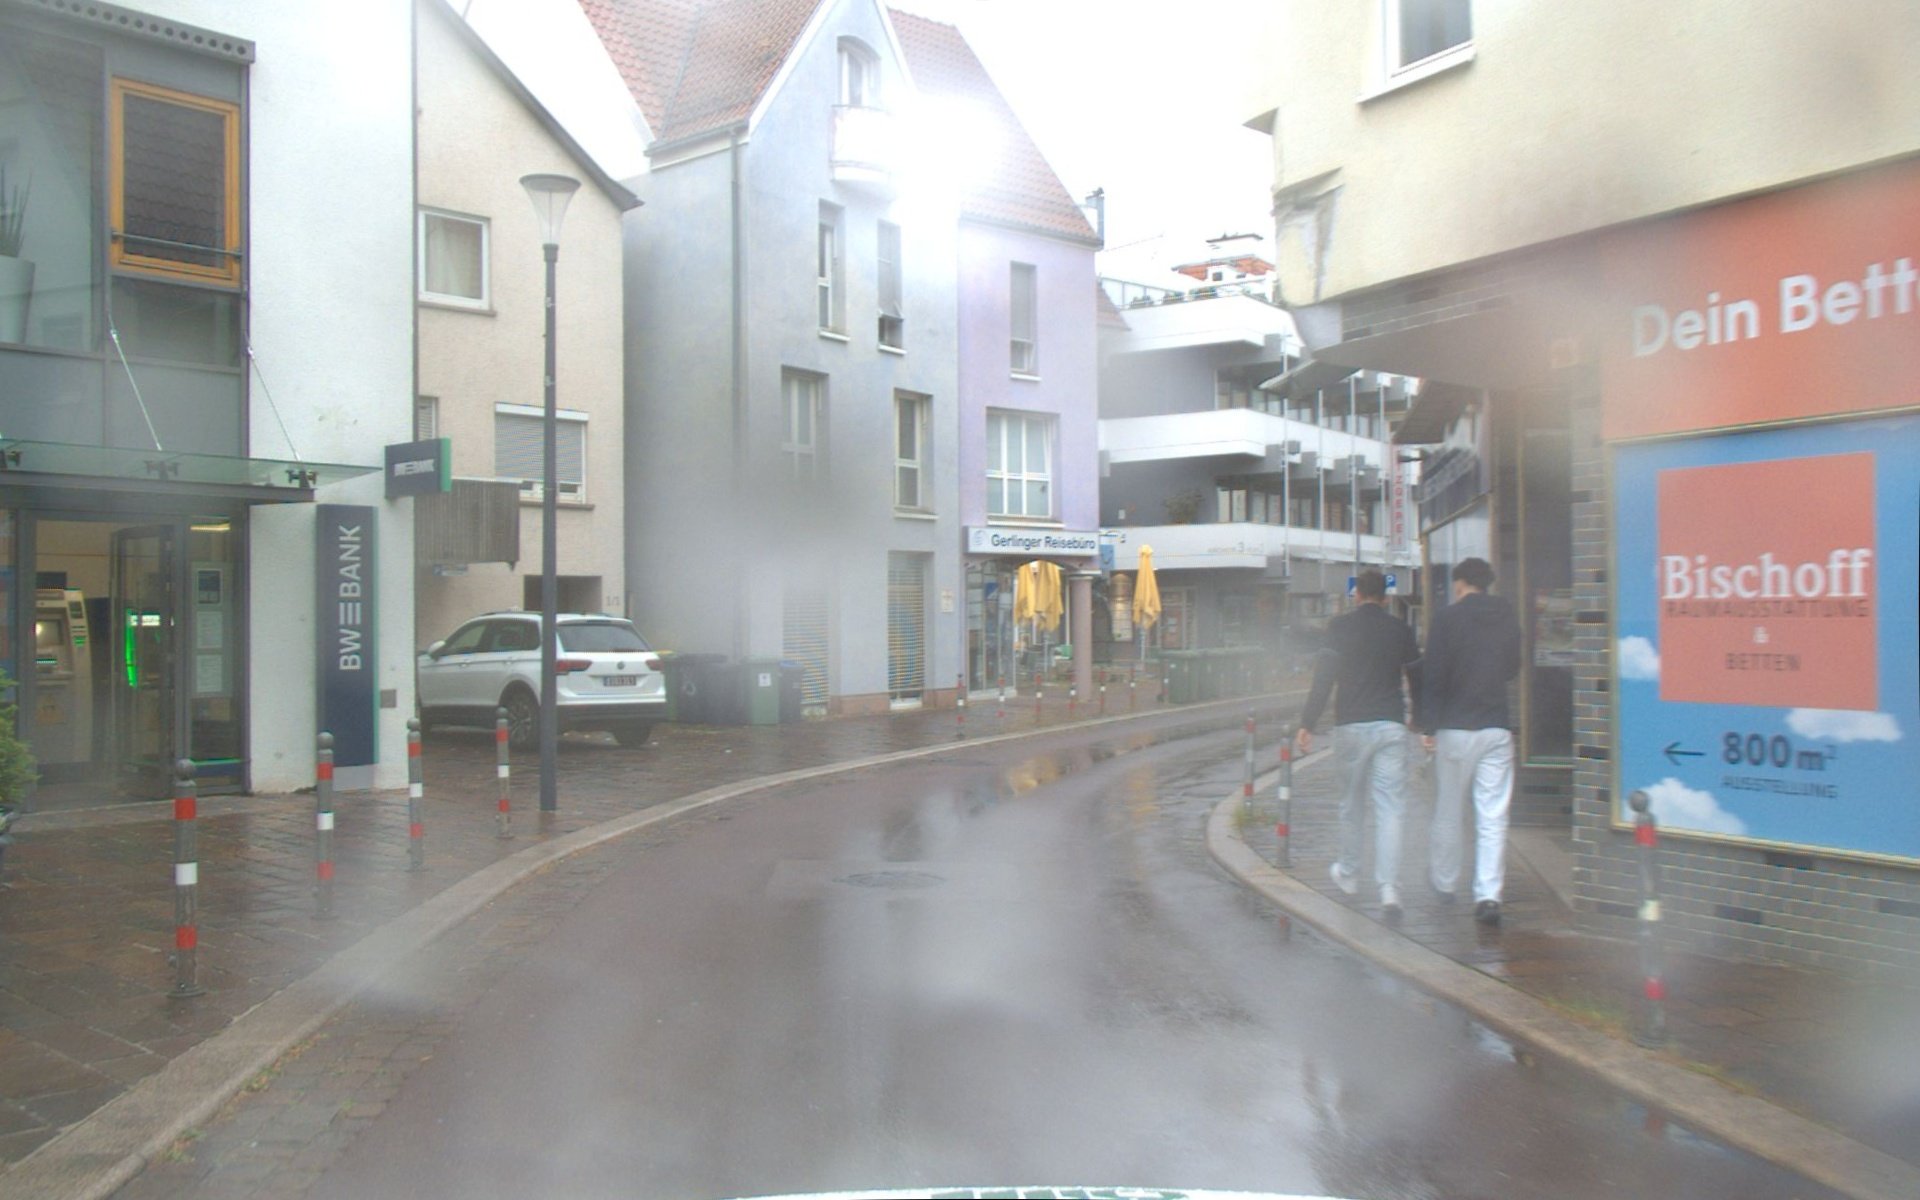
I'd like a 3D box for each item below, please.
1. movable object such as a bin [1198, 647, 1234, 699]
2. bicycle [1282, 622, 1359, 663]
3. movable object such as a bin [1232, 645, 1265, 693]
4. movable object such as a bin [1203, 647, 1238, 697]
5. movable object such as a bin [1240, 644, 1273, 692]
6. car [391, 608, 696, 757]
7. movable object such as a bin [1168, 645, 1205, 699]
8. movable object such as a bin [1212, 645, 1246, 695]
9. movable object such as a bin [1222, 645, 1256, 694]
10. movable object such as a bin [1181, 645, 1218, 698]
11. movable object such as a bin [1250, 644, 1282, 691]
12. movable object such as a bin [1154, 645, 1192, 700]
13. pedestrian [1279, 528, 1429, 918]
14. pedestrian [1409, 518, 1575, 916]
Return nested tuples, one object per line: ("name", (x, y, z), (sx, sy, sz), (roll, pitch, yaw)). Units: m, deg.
("movable object such as a bin", (5.746, 1.630, 37.137), (0.621, 1.148, 0.576), (-2, -2, 31))
("bicycle", (11.965, 1.413, 54.897), (2.262, 1.337, 1.006), (-2, -2, 36))
("movable object such as a bin", (6.934, 1.650, 39.769), (0.621, 1.148, 0.576), (-2, -2, 31))
("movable object such as a bin", (5.960, 1.642, 37.854), (0.621, 1.148, 0.576), (-2, -2, 31))
("movable object such as a bin", (7.238, 1.652, 40.340), (0.621, 1.148, 0.576), (-2, -2, 31))
("car", (-5.362, 0.975, 21.065), (3.930, 1.706, 1.987), (-1, -1, 43))
("movable object such as a bin", (4.857, 1.535, 35.466), (0.621, 1.148, 0.576), (-2, -2, 31))
("movable object such as a bin", (6.281, 1.633, 38.601), (0.621, 1.148, 0.576), (-2, -2, 31))
("movable object such as a bin", (6.613, 1.650, 39.221), (0.621, 1.148, 0.576), (-2, -2, 31))
("movable object such as a bin", (5.238, 1.564, 36.133), (0.621, 1.148, 0.576), (-2, -2, 31))
("movable object such as a bin", (7.561, 1.668, 40.887), (0.621, 1.148, 0.576), (-2, -2, 31))
("movable object such as a bin", (4.486, 1.530, 34.830), (0.621, 1.148, 0.576), (-2, -2, 31))
("pedestrian", (2.151, 0.659, 9.118), (0.637, 2.049, 0.761), (-1, -2, 2))
("pedestrian", (2.849, 0.613, 8.918), (0.637, 2.049, 0.761), (-1, -2, 3))
